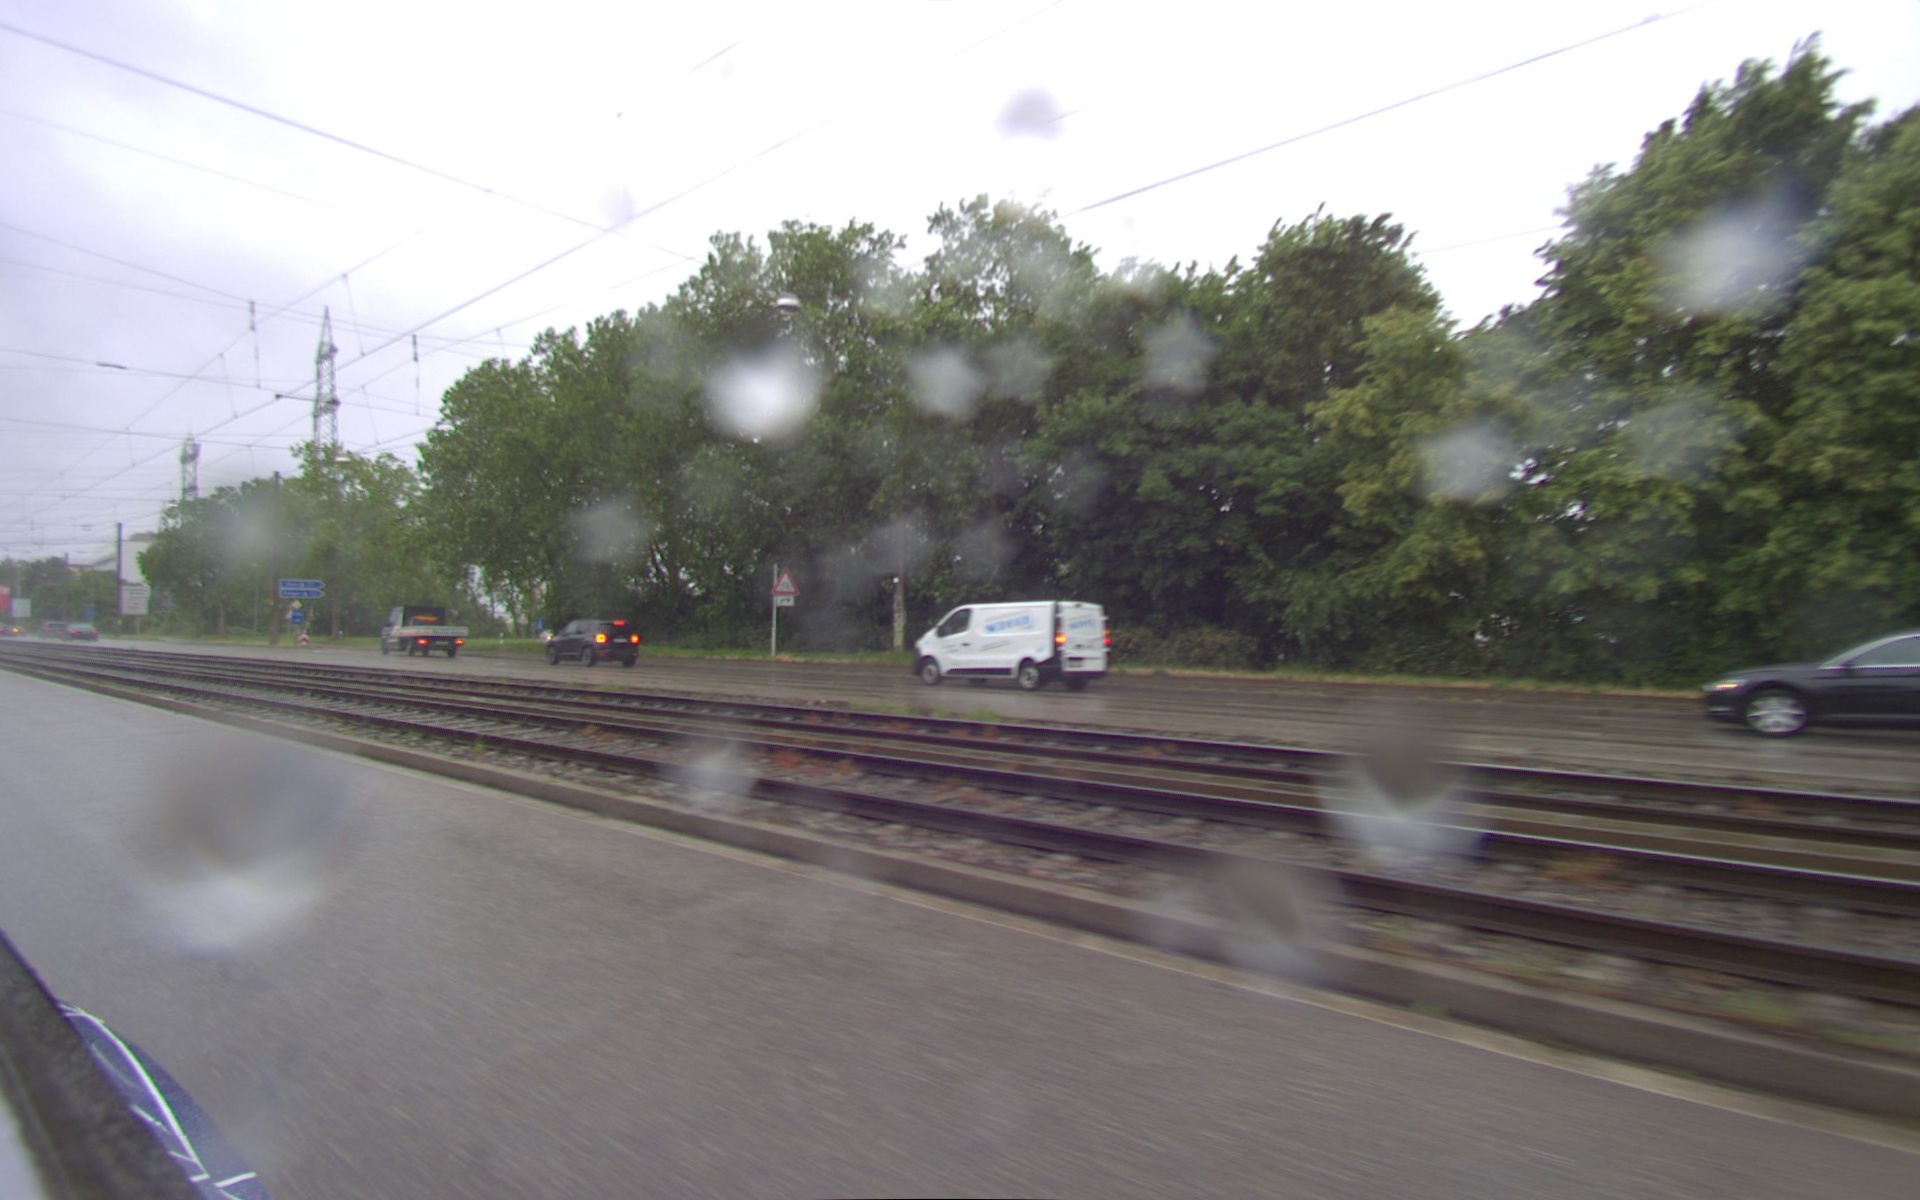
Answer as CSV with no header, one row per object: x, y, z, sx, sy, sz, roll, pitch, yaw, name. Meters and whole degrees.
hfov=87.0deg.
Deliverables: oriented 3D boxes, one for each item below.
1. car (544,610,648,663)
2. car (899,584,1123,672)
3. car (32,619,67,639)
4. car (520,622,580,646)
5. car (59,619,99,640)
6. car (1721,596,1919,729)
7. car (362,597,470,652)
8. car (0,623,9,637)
-13.106,1.305,36.294,4.163,1.730,1.821,-3,-1,44,car
1.061,0.641,23.313,4.985,1.789,2.018,-3,-1,43,car
-88.571,2.841,98.435,6.101,1.719,1.801,-3,-1,41,car
-32.413,2.658,80.160,1.808,1.719,4.996,-2,0,15,car
-74.096,2.497,85.062,5.678,1.597,1.757,-3,-1,41,car
12.195,0.717,12.204,4.612,1.530,1.670,-3,-1,44,car
-25.559,1.169,47.380,6.986,2.360,2.077,-3,-1,41,car
-114.019,3.632,119.651,5.310,1.561,1.772,-3,-1,41,car
